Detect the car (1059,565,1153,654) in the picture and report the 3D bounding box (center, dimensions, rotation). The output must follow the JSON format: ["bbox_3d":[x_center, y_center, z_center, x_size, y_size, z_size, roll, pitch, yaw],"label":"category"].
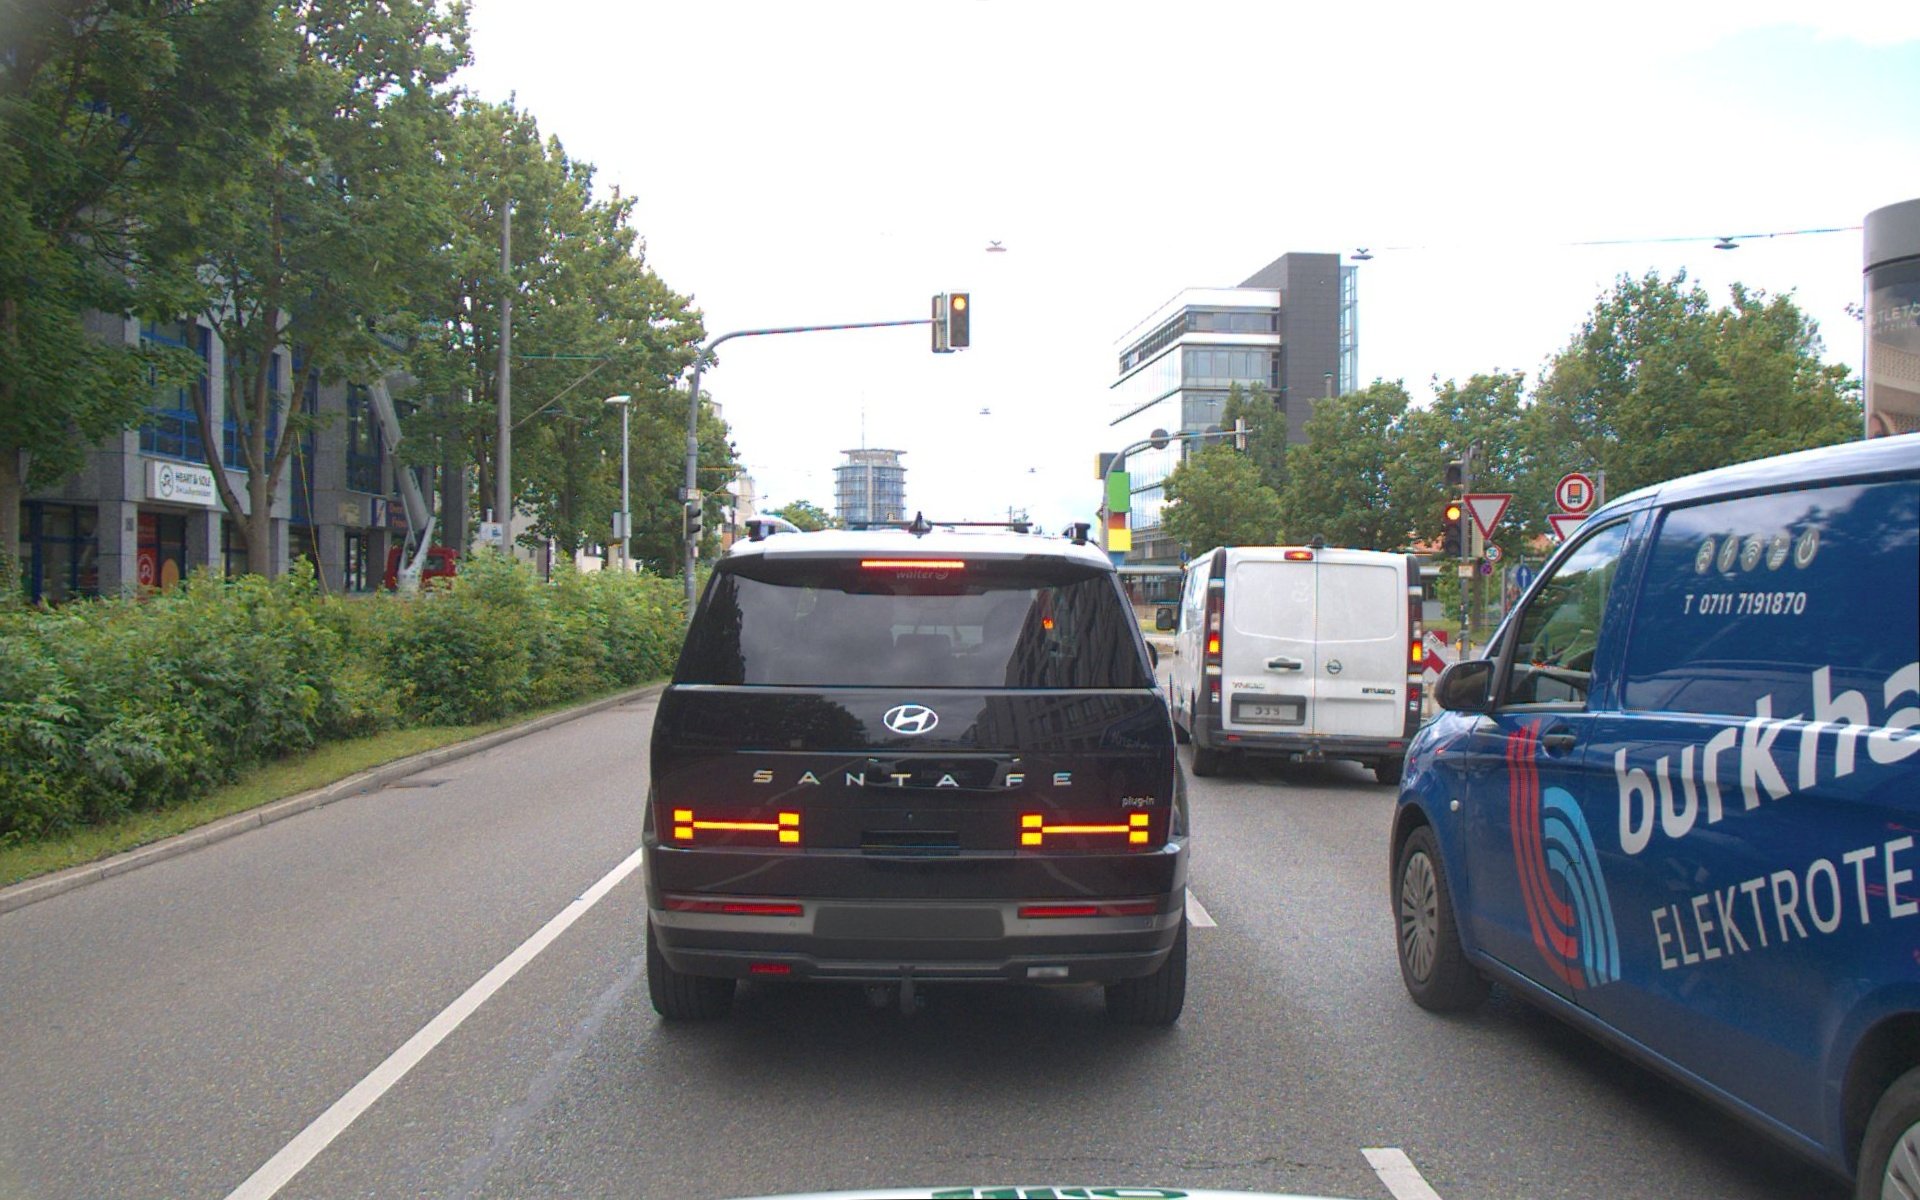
[{"bbox_3d":[3.525,0.243,40.553,1.952,2.049,4.000,1,0,0],"label":"car"}]

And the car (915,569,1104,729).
[{"bbox_3d":[0.729,0.555,20.538,1.738,1.747,4.342,1,0,10],"label":"car"}]

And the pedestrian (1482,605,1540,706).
[{"bbox_3d":[8.990,0.901,26.983,0.733,1.612,0.565,2,0,-41],"label":"pedestrian"}]

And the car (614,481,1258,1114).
[{"bbox_3d":[-0.091,0.551,6.647,1.831,1.791,3.879,0,0,-1],"label":"car"}]

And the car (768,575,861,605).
[{"bbox_3d":[-8.278,-0.557,94.017,5.180,1.624,1.997,1,-1,-6],"label":"car"}]

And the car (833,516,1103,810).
[{"bbox_3d":[0.029,0.430,13.457,1.876,2.038,3.879,0,0,-1],"label":"car"}]

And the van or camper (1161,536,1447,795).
[{"bbox_3d":[3.037,0.516,15.592,1.952,2.049,4.654,1,0,3],"label":"van or camper"}]

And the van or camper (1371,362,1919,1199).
[{"bbox_3d":[2.665,0.526,4.430,1.822,1.944,5.031,0,0,-1],"label":"van or camper"}]

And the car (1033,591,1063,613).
[{"bbox_3d":[7.009,0.162,131.925,1.954,1.713,3.997,1,0,-3],"label":"car"}]
